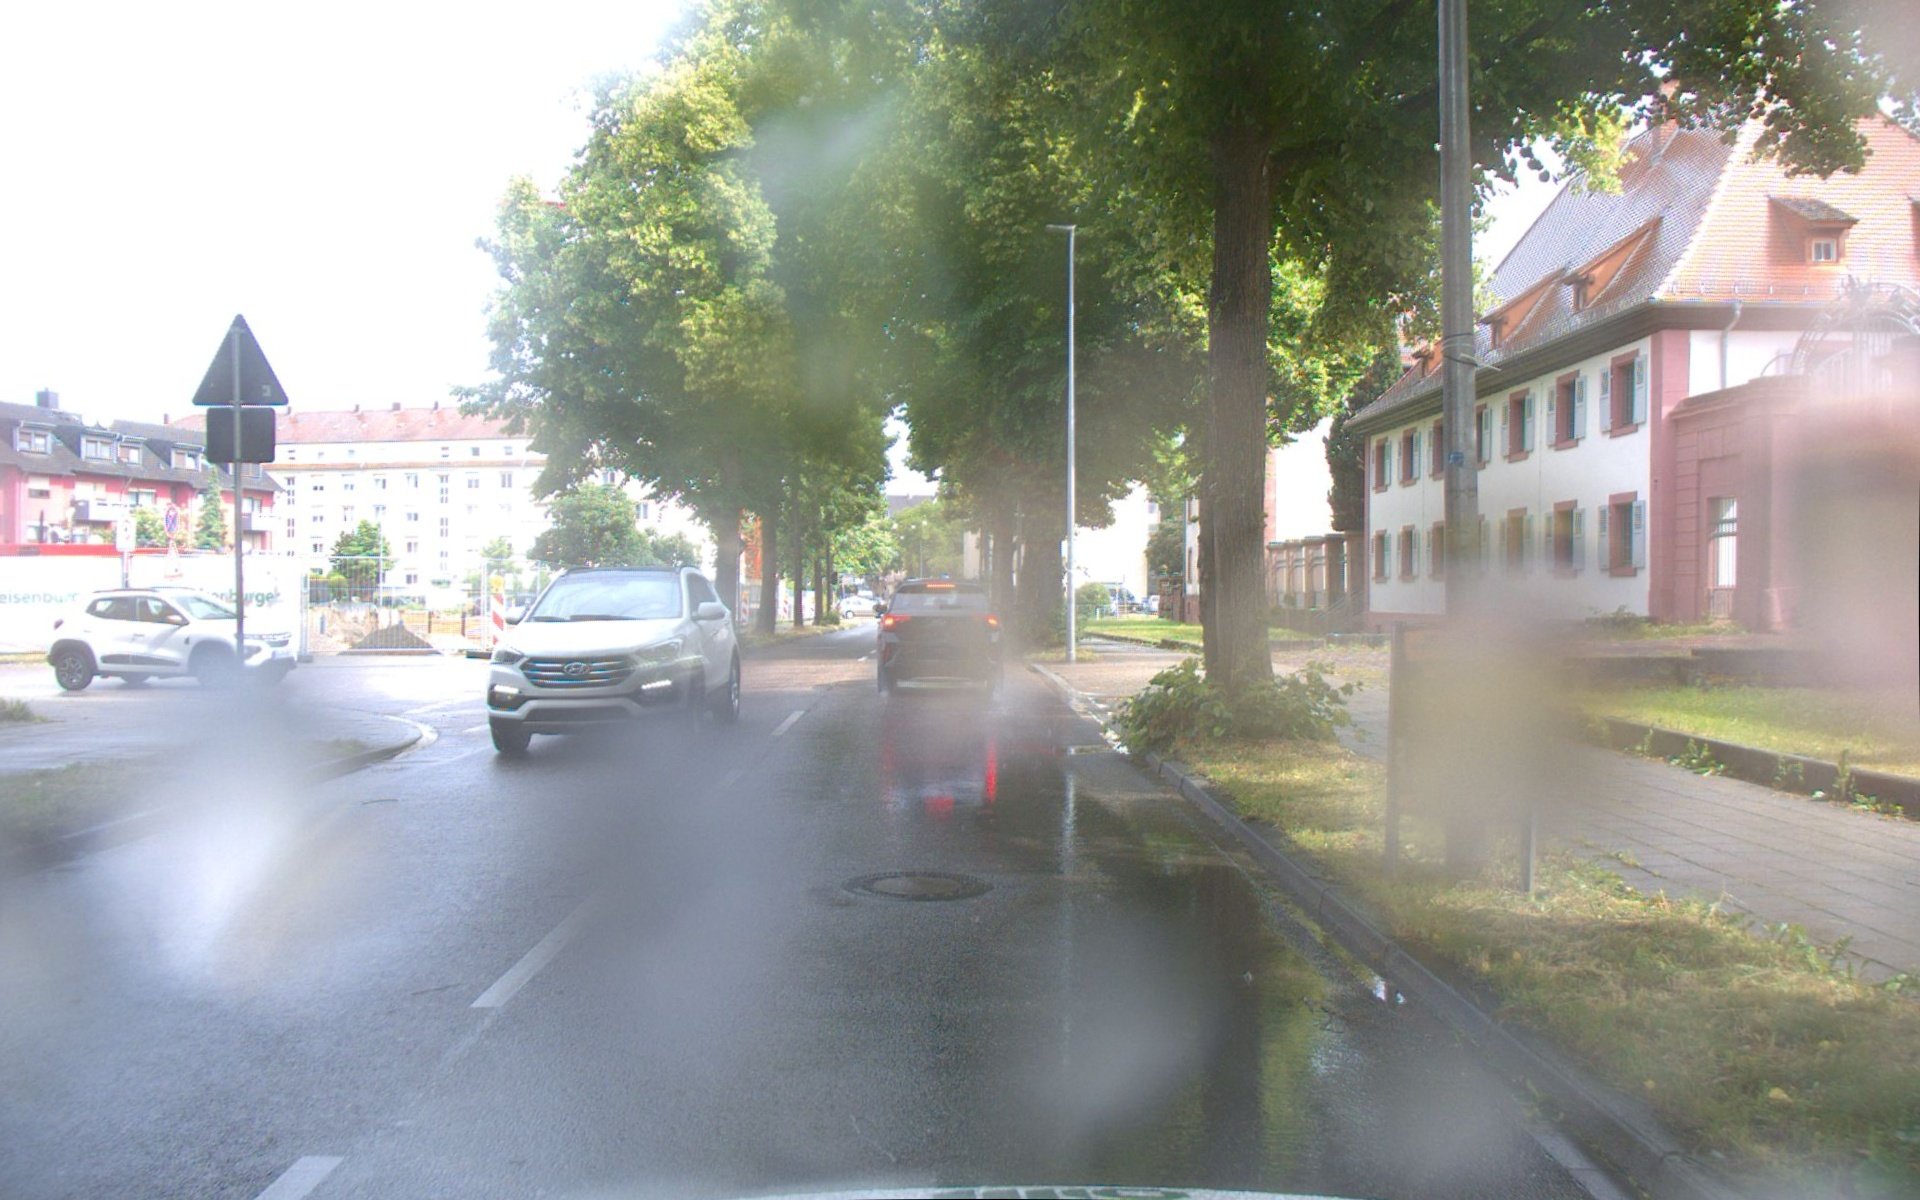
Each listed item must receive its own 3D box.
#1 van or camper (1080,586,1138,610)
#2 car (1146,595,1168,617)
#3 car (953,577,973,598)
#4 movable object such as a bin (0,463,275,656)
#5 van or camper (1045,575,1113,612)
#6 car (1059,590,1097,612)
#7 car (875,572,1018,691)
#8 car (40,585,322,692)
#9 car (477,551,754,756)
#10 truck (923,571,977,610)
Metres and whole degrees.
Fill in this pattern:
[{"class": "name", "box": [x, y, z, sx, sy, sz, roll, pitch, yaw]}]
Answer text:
[{"class": "van or camper", "box": [12.702, -0.218, 141.562, 4.775, 1.959, 2.131, 1, 1, 0]}, {"class": "car", "box": [16.379, 0.525, 137.604, 1.706, 1.713, 3.873, -3, 0, 5]}, {"class": "car", "box": [0.318, -1.284, 169.535, 1.952, 2.049, 4.000, -1, -2, 2]}, {"class": "movable object such as a bin", "box": [-21.253, -0.949, 37.973, 9.609, 4.187, 3.367, 1, 1, 1]}, {"class": "van or camper", "box": [8.897, -0.483, 124.041, 4.931, 2.641, 2.167, 0, 0, -2]}, {"class": "car", "box": [10.900, 0.096, 152.833, 3.335, 1.812, 1.761, -3, 0, 8]}, {"class": "car", "box": [-0.260, 0.408, 23.720, 1.857, 1.549, 3.998, 1, 0, -3]}, {"class": "car", "box": [-11.969, 0.572, 25.530, 3.528, 1.560, 1.739, 0, 1, 8]}, {"class": "car", "box": [-3.220, 0.434, 16.310, 1.848, 1.743, 4.229, 0, 1, 0]}, {"class": "truck", "box": [-0.791, -0.711, 120.576, 2.753, 2.703, 8.225, 1, 1, -9]}]
